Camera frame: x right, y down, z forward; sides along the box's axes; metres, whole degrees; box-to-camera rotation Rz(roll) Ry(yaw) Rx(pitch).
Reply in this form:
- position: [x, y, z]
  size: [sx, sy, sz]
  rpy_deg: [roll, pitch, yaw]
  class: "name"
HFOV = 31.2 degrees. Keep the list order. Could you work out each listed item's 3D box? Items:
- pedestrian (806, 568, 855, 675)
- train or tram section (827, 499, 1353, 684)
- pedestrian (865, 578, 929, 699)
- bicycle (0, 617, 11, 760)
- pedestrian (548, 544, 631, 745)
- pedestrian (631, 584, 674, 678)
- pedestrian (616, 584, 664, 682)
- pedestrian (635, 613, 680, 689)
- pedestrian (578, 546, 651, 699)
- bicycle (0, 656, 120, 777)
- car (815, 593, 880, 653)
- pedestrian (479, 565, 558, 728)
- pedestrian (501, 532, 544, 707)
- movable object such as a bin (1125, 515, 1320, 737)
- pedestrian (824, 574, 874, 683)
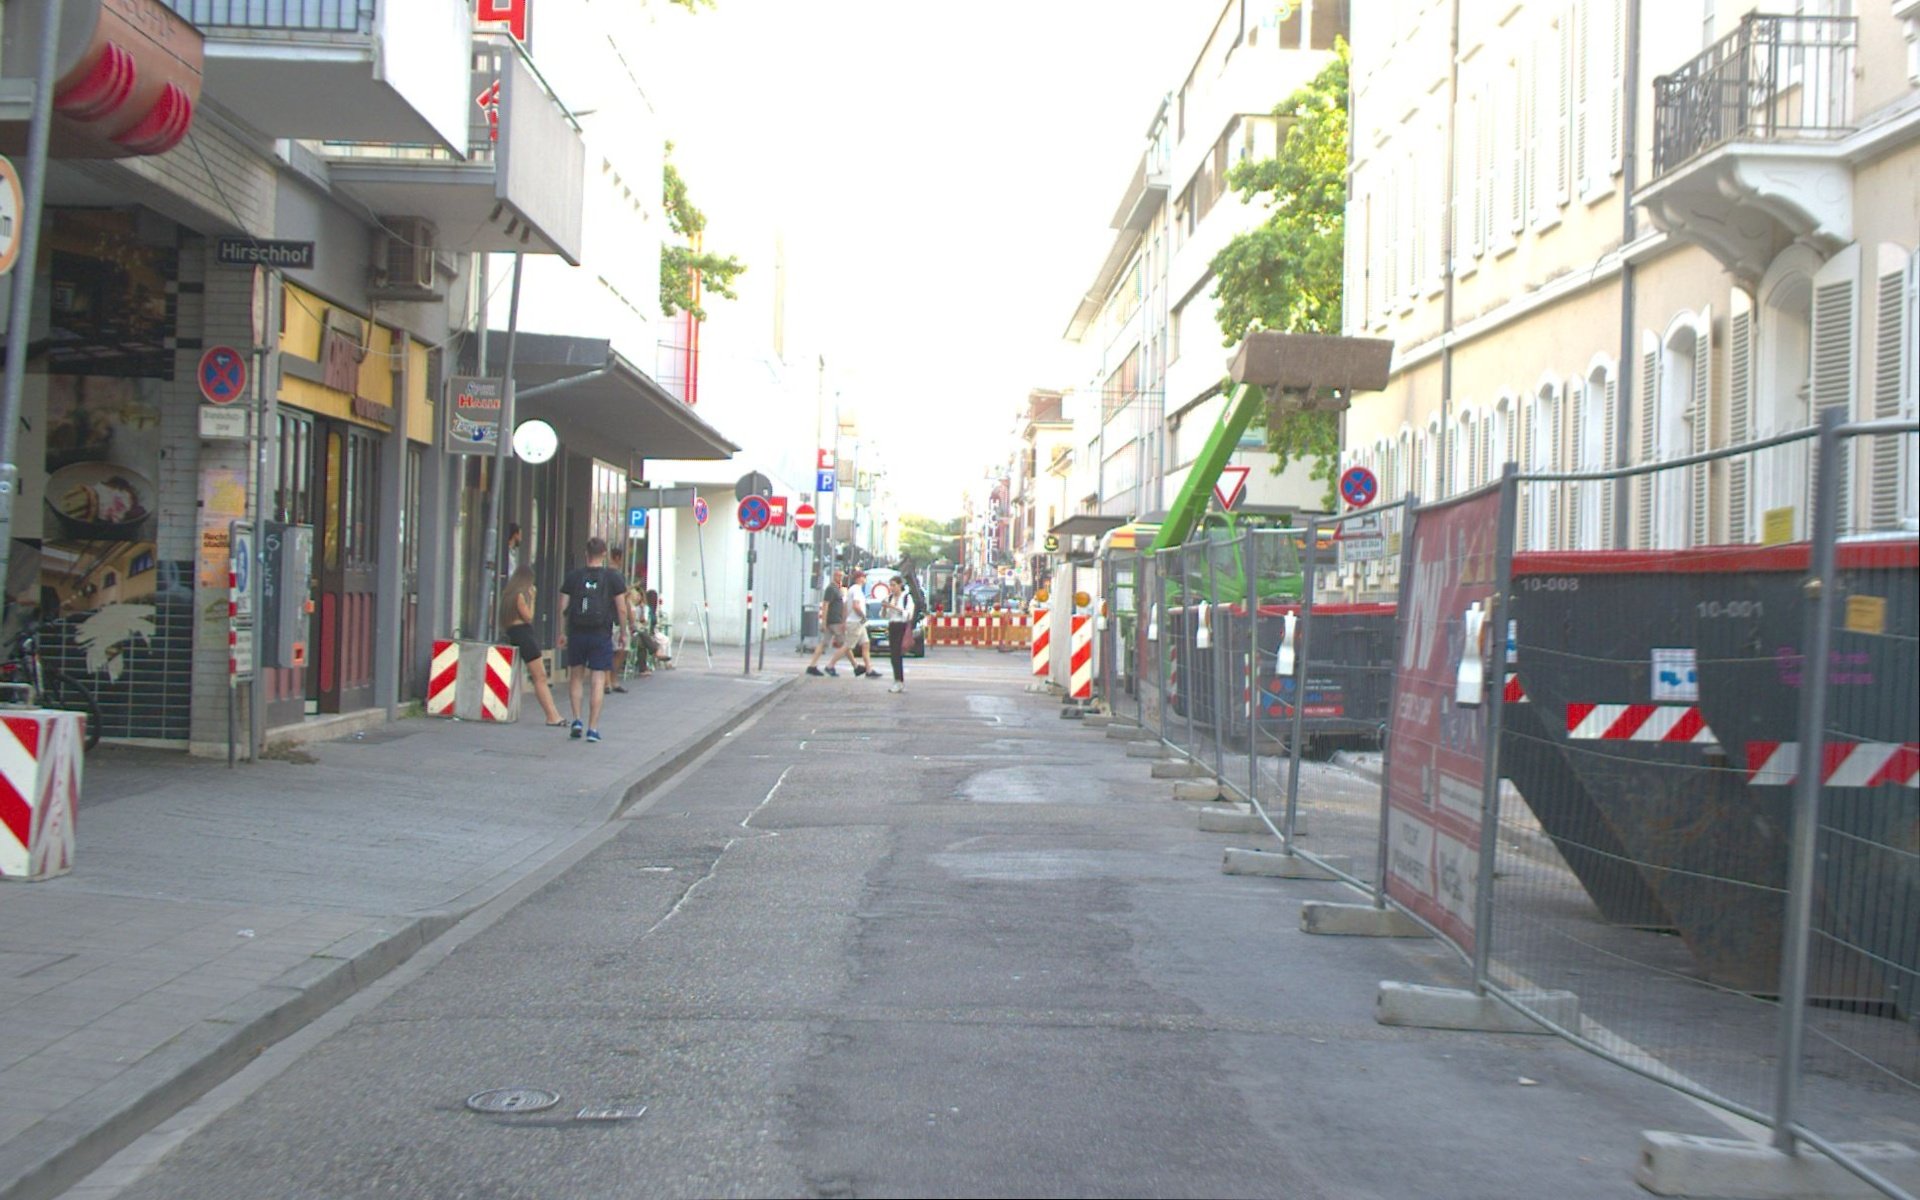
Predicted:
- position: [-2.207, 0.363, 58.543]
  size: [0.645, 1.803, 0.631]
  rpy_deg: [2, 0, -17]
  class: "pedestrian"
- position: [2.591, -0.173, 70.479]
  size: [10.486, 3.448, 3.000]
  rpy_deg: [1, 0, -1]
  class: "train or tram section"
- position: [-0.917, 0.562, 50.410]
  size: [0.720, 1.734, 0.647]
  rpy_deg: [1, 0, 18]
  class: "pedestrian"
- position: [-7.022, 0.616, 23.604]
  size: [0.522, 1.006, 1.747]
  rpy_deg: [1, 0, 0]
  class: "bicycle"
- position: [-3.377, 0.401, 31.369]
  size: [0.629, 1.802, 0.647]
  rpy_deg: [1, 0, 1]
  class: "pedestrian"
- position: [-4.575, 0.455, 51.145]
  size: [0.542, 1.383, 0.625]
  rpy_deg: [1, 0, 0]
  class: "pedestrian"
- position: [-4.678, 0.474, 50.272]
  size: [0.558, 1.386, 0.893]
  rpy_deg: [2, 1, 0]
  class: "pedestrian"
- position: [-4.748, 0.797, 53.955]
  size: [0.618, 1.168, 0.787]
  rpy_deg: [1, 0, -1]
  class: "pedestrian"
- position: [-4.298, 0.286, 42.784]
  size: [0.573, 1.880, 0.655]
  rpy_deg: [1, 0, 34]
  class: "pedestrian"
- position: [-6.256, 0.786, 23.642]
  size: [0.522, 0.758, 1.747]
  rpy_deg: [1, 0, 0]
  class: "bicycle"
- position: [-2.716, 0.561, 83.584]
  size: [1.474, 1.393, 3.332]
  rpy_deg: [2, 0, -1]
  class: "car"
- position: [-4.309, 0.447, 33.521]
  size: [0.645, 1.559, 0.631]
  rpy_deg: [2, 0, -15]
  class: "pedestrian"
- position: [-5.059, 0.226, 39.782]
  size: [0.410, 2.007, 0.454]
  rpy_deg: [1, 0, -3]
  class: "pedestrian"
- position: [3.922, 0.342, 52.191]
  size: [2.470, 3.120, 4.297]
  rpy_deg: [2, 1, 0]
  class: "movable object such as a bin"
- position: [-1.863, 0.483, 57.643]
  size: [0.645, 1.803, 0.631]
  rpy_deg: [2, 0, -17]
  class: "pedestrian"
